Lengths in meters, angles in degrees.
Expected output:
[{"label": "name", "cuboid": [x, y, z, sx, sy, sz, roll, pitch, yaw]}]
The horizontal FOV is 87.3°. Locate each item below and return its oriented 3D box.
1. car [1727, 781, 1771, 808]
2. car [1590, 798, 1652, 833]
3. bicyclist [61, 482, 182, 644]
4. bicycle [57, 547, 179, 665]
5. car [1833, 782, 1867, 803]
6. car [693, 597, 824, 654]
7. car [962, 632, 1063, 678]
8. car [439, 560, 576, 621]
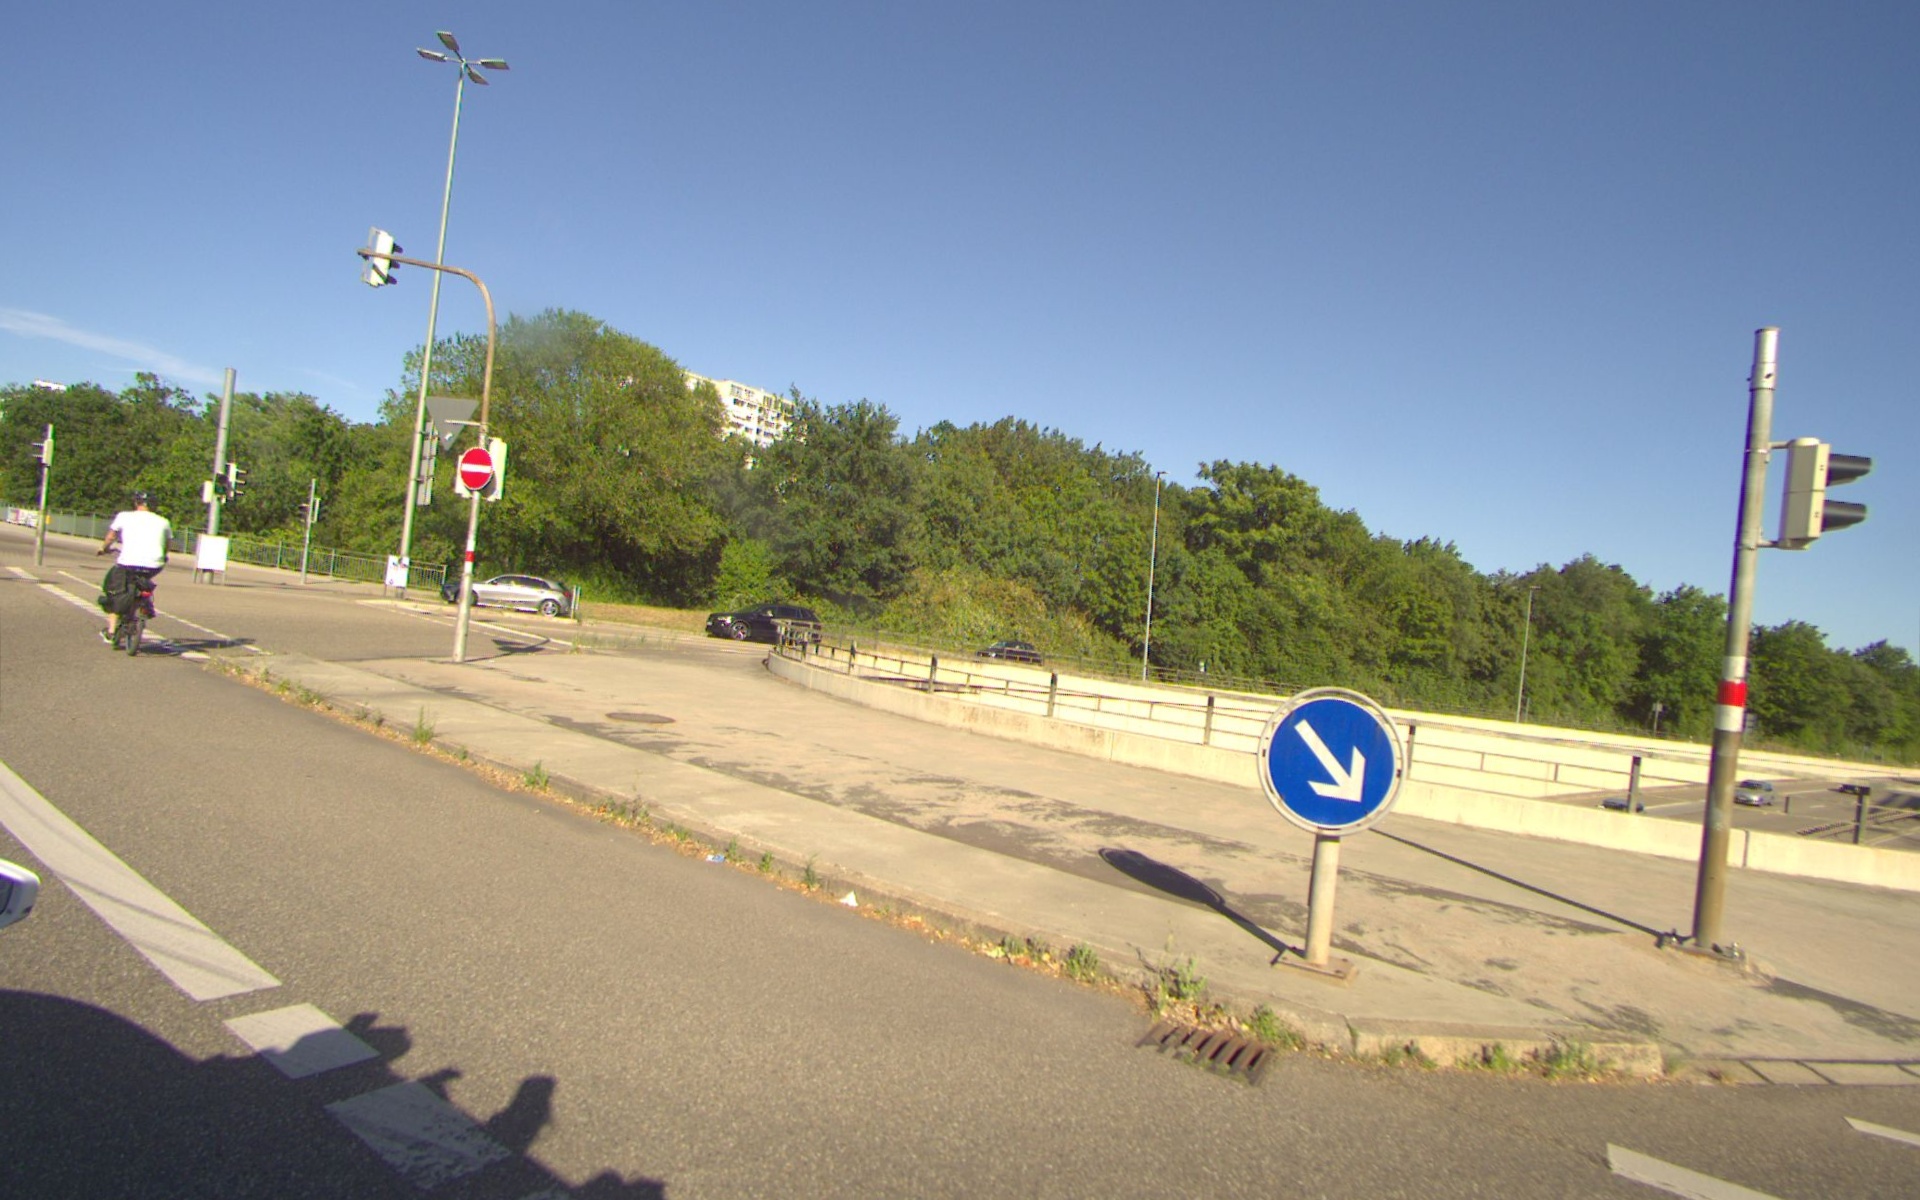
[{"label": "car", "cuboid": [60.464, 14.883, 77.065, 3.977, 1.591, 1.976, 10, -3, -43]}, {"label": "car", "cuboid": [38.037, 12.351, 57.853, 3.976, 1.503, 1.976, 9, -3, -43]}, {"label": "bicyclist", "cuboid": [-9.467, -0.425, 11.356, 1.097, 1.678, 0.723, 6, -2, 41]}, {"label": "bicycle", "cuboid": [-9.494, 0.047, 11.314, 1.801, 1.114, 0.691, 6, -2, 42]}, {"label": "car", "cuboid": [83.919, 18.160, 94.810, 3.975, 1.581, 1.840, 10, -3, -42]}, {"label": "car", "cuboid": [-7.925, 1.018, 39.775, 4.633, 1.635, 1.845, 8, -1, -33]}, {"label": "car", "cuboid": [2.545, 2.653, 48.055, 4.641, 1.635, 1.842, 8, -1, -38]}, {"label": "car", "cuboid": [-15.949, -0.327, 35.669, 4.188, 1.570, 1.852, 8, -1, -22]}]
